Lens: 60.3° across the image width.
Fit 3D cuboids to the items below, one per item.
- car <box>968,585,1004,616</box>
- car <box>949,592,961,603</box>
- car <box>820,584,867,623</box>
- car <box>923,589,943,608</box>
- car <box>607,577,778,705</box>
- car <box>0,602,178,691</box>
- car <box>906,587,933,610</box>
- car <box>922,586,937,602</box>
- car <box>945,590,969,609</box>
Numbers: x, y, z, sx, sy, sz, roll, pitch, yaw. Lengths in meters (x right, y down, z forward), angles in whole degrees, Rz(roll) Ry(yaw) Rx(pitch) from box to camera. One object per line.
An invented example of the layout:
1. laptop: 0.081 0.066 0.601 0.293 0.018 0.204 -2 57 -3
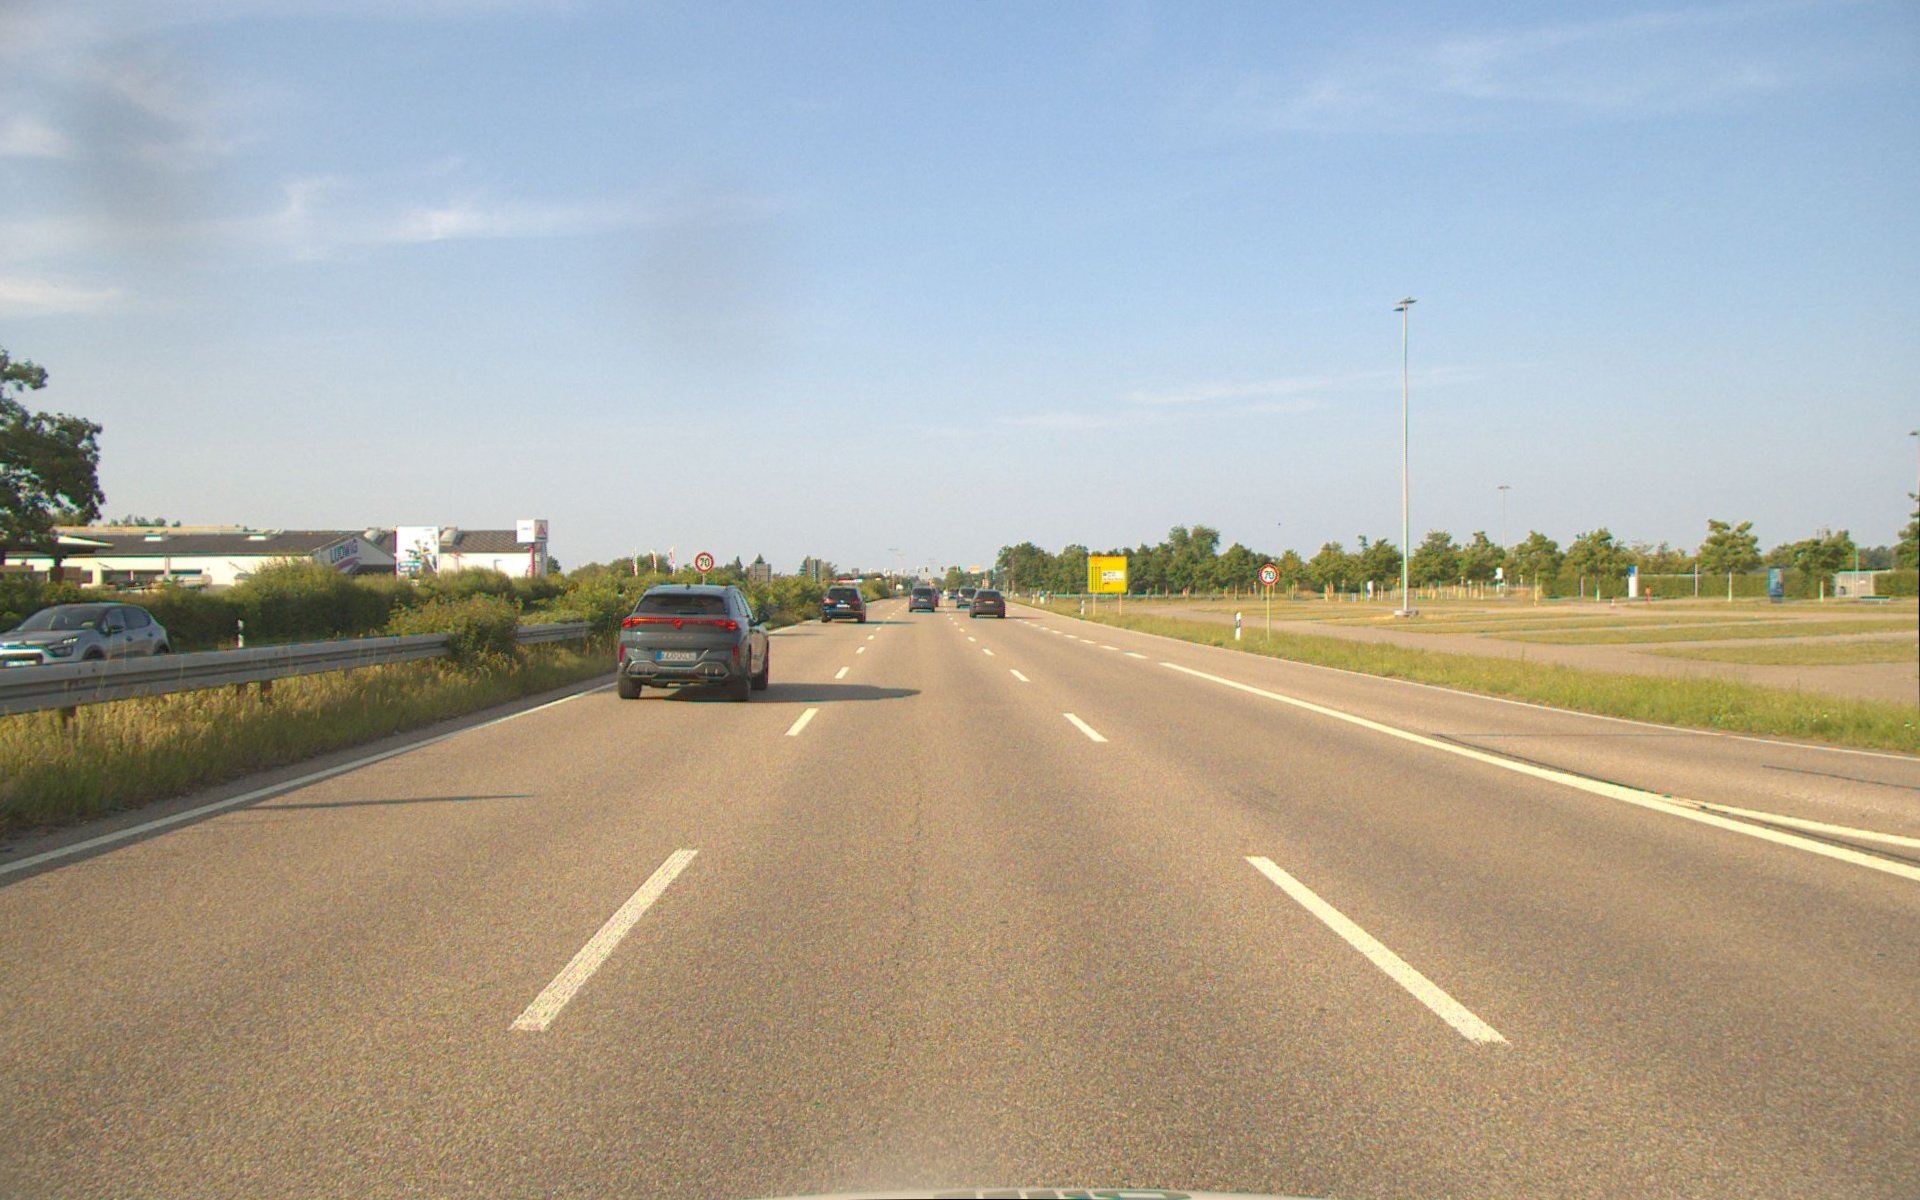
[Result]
1. car: 1.487 0.000 95.880 1.893 1.709 4.400 2 0 -1
2. car: -0.618 -0.338 203.183 1.472 1.336 3.155 2 0 -1
3. car: -5.441 0.149 77.535 1.893 1.709 4.400 2 0 -1
4. car: -2.214 -0.146 136.473 1.614 1.488 3.980 2 0 -1
5. car: -3.811 0.537 24.255 1.808 1.640 4.400 2 0 -1
6. car: -15.670 0.778 29.319 1.743 1.449 3.999 -1 0 -1
7. car: -2.724 -0.123 112.235 1.776 1.488 4.400 2 0 -1
8. car: -3.565 -0.663 193.509 1.612 1.758 3.400 1 -1 -1
9. car: -0.233 -0.062 132.611 1.835 1.488 3.980 2 0 -1
